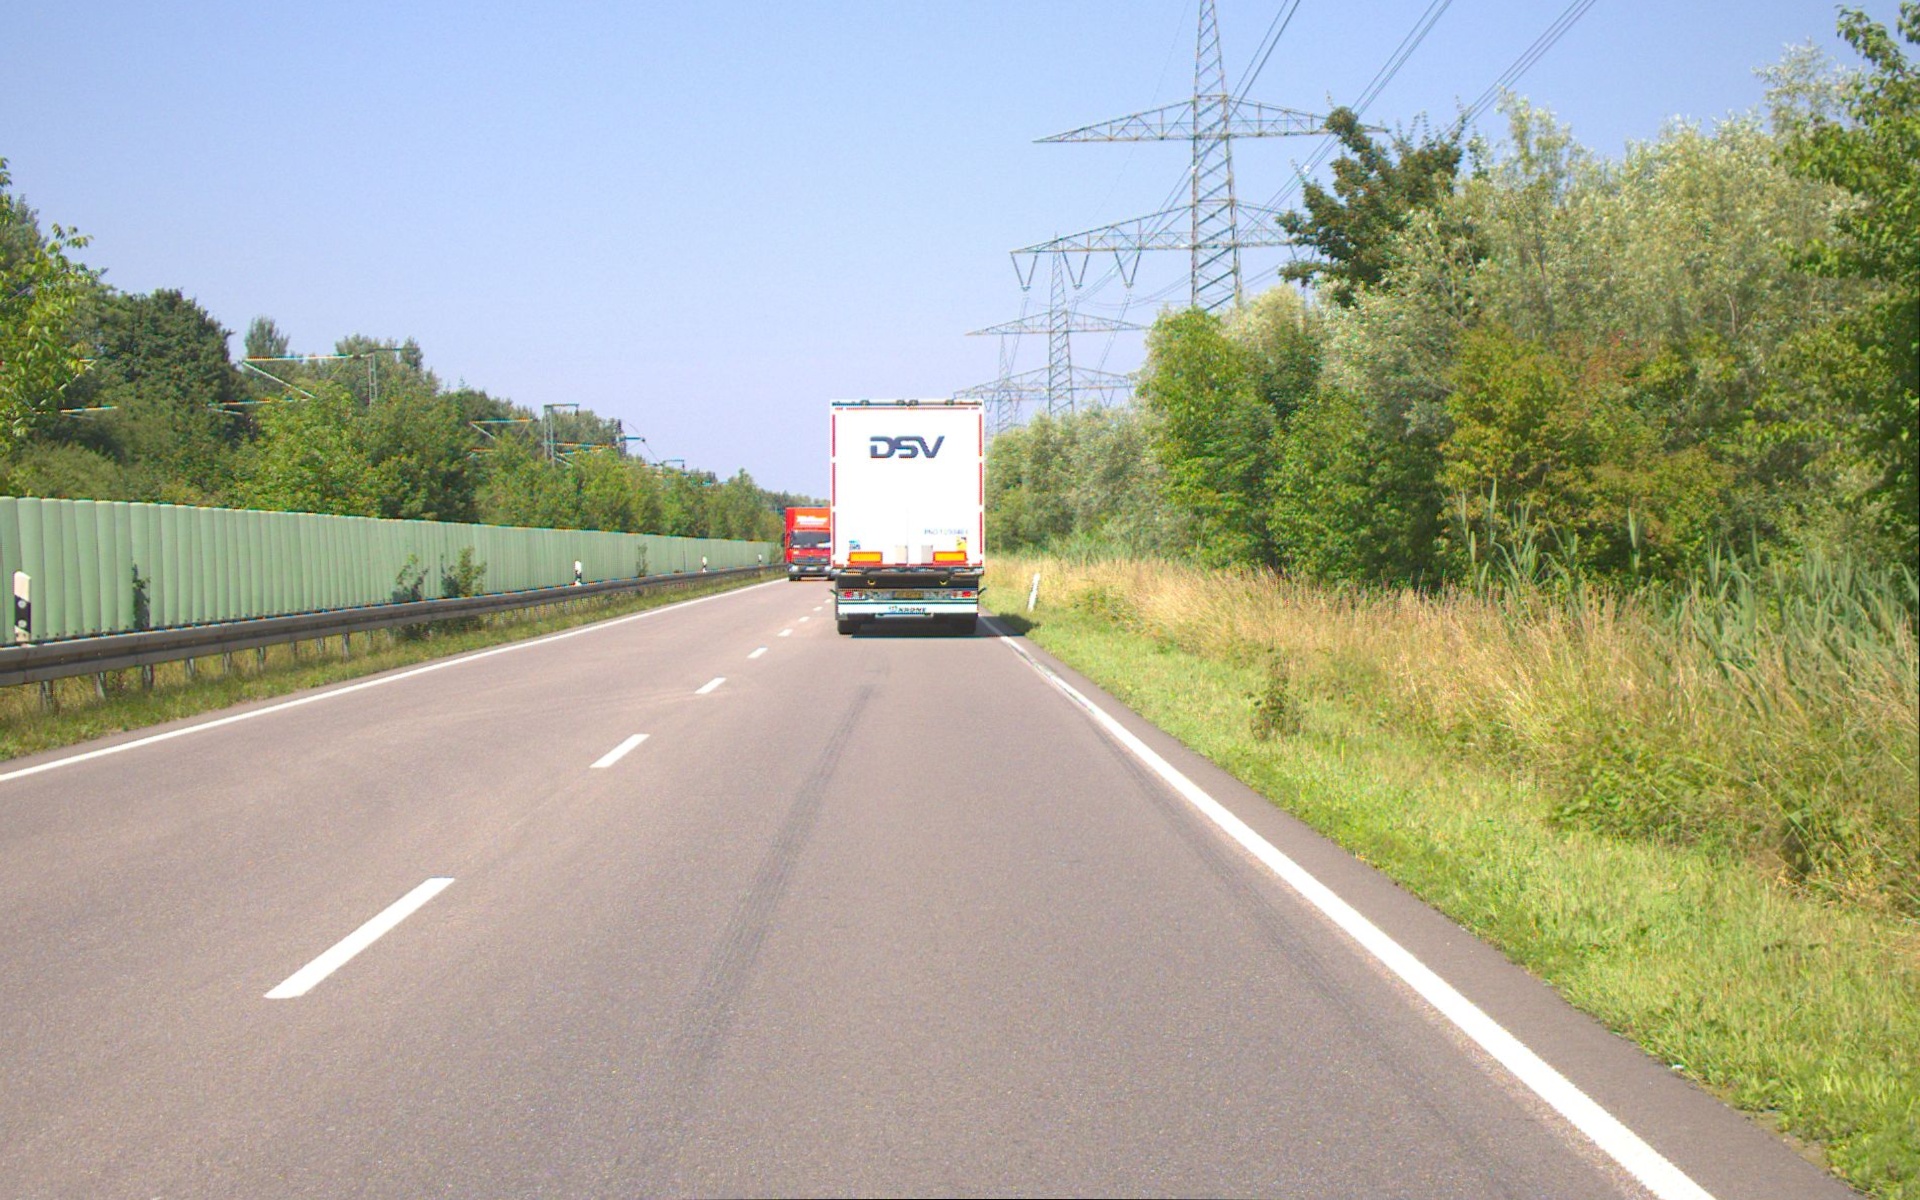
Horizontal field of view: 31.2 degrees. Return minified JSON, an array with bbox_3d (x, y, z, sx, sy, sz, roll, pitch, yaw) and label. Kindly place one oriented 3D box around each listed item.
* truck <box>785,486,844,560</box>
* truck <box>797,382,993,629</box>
[{"bbox_3d":[-7.180,-3.809,170.778,2.734,3.586,9.528,-1,1,-1],"label":"truck"},{"bbox_3d":[-1.223,-1.665,62.595,3.192,4.029,12.008,-1,1,-1],"label":"truck"}]
